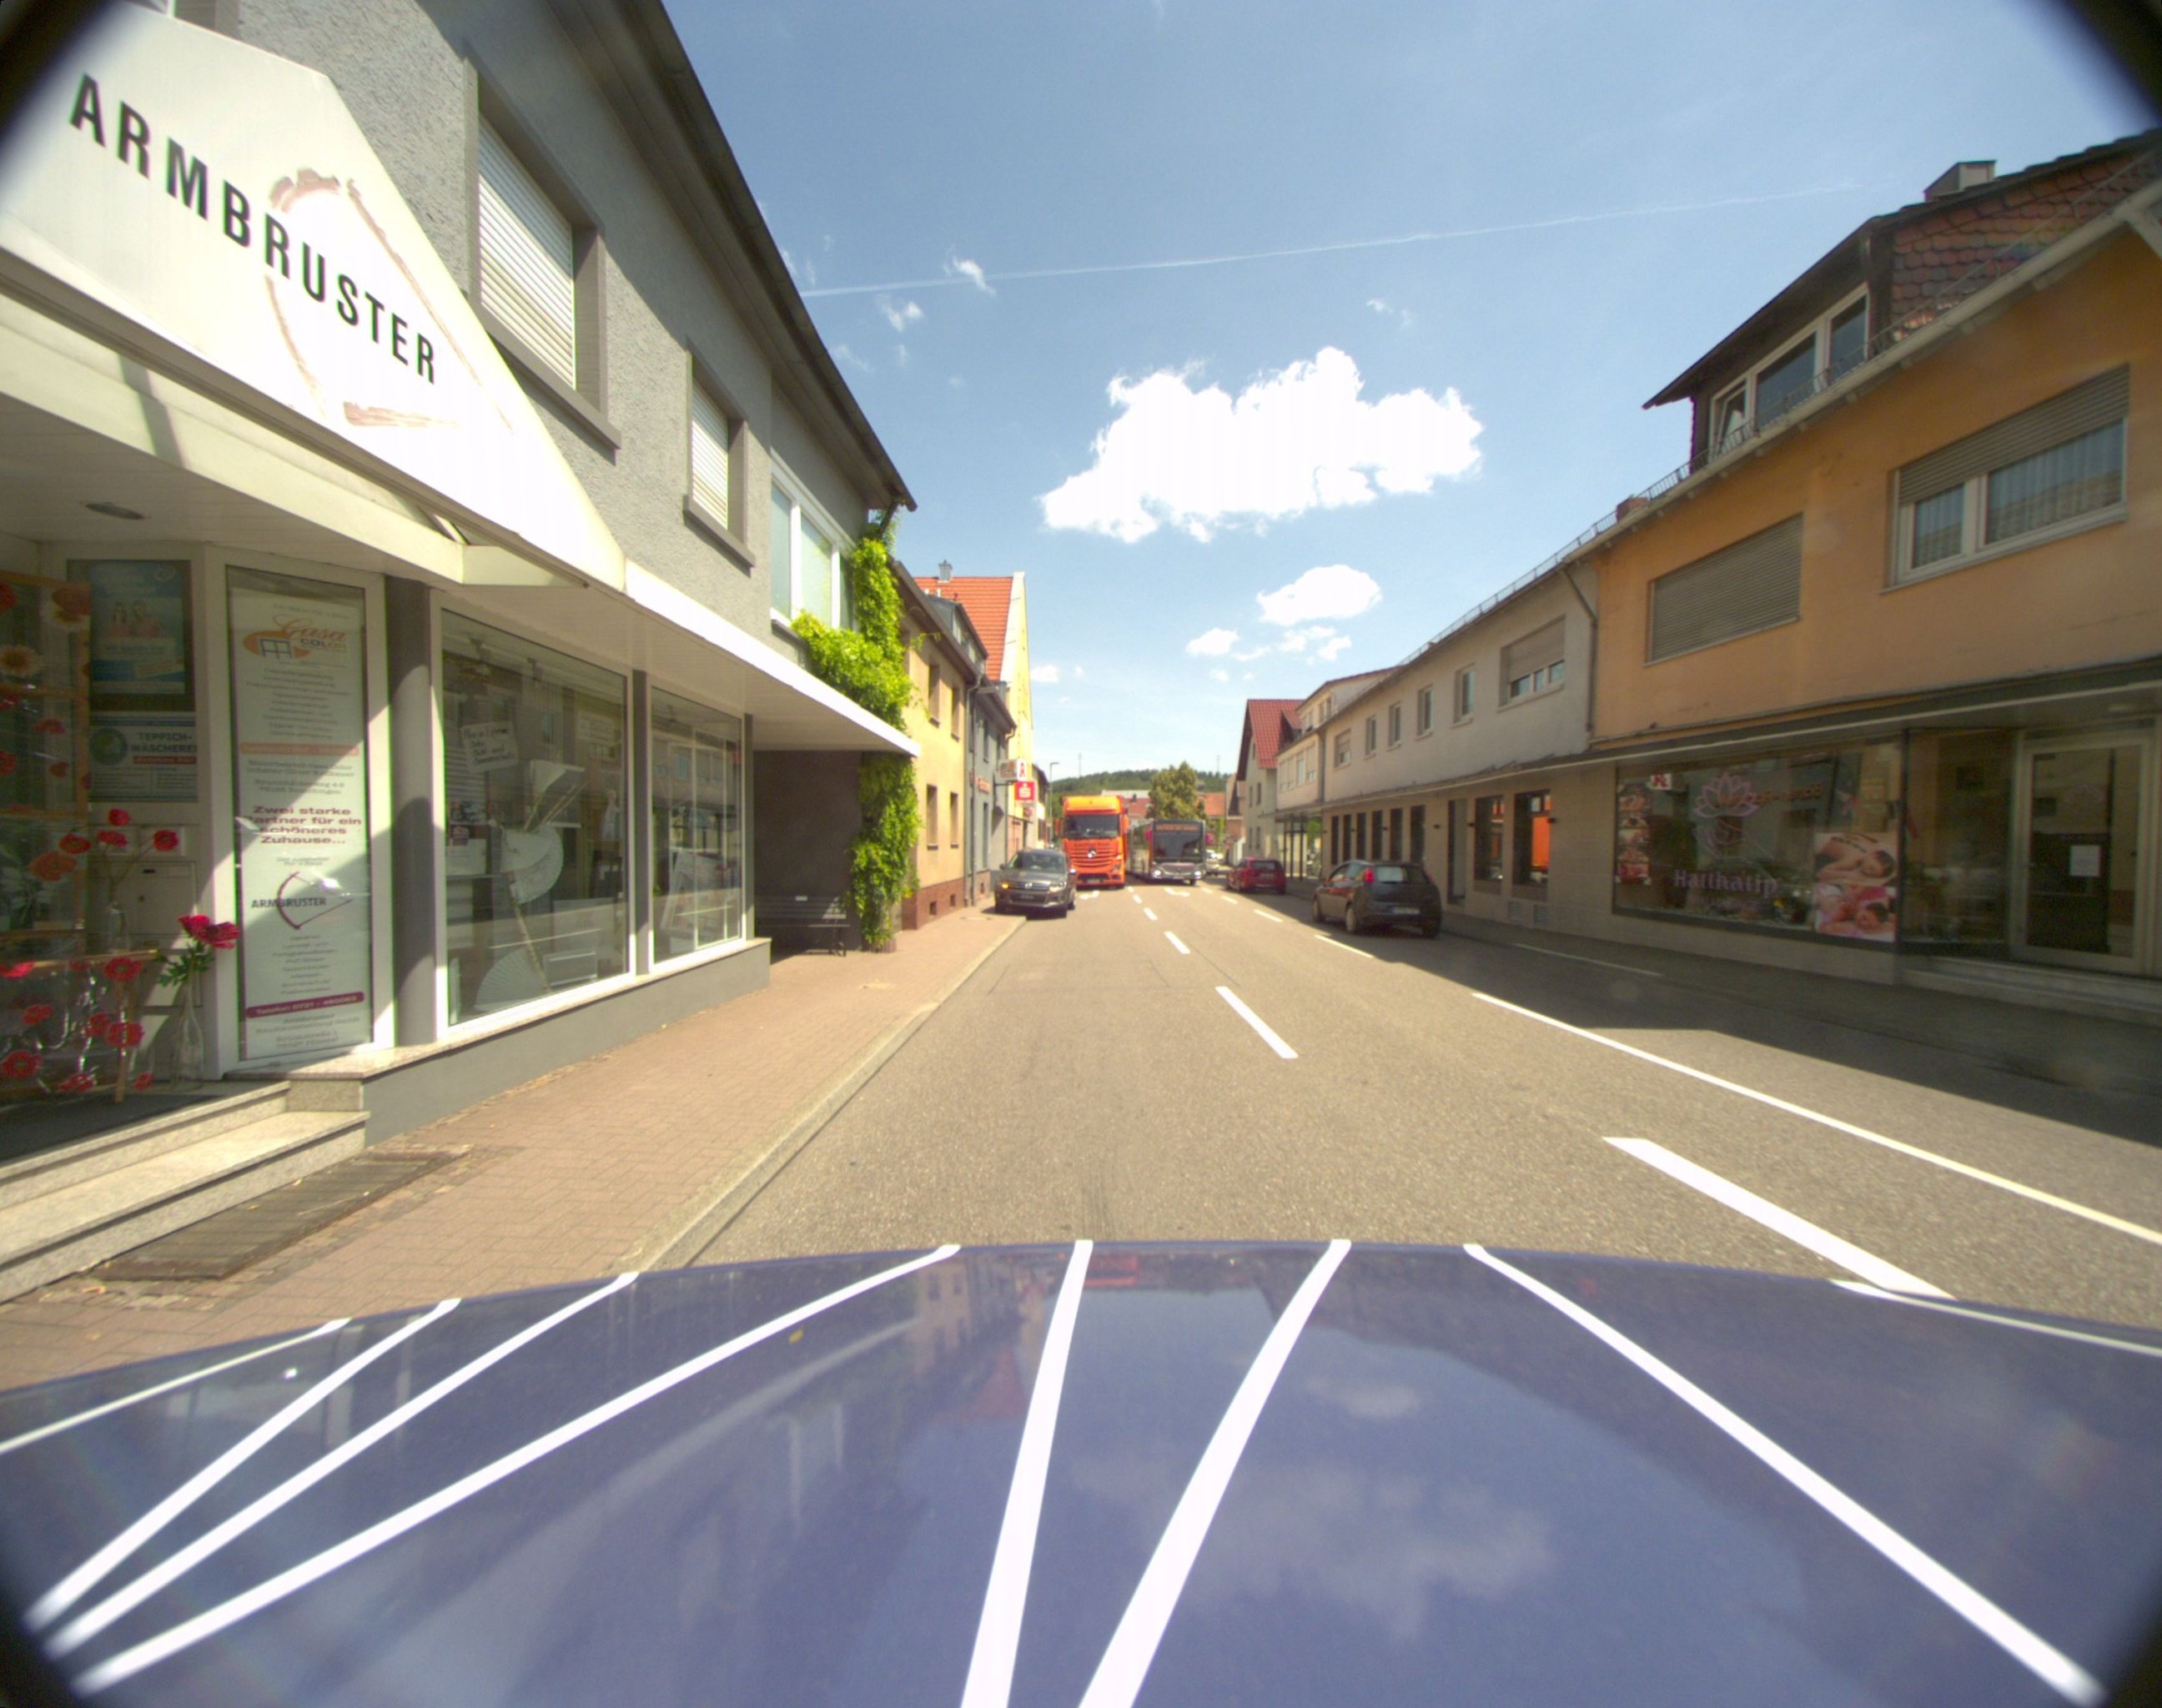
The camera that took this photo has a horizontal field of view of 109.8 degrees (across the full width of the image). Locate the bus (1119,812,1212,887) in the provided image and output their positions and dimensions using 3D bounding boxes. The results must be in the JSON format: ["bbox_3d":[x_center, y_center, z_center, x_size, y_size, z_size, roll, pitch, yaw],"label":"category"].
[{"bbox_3d":[4.111,-0.227,42.253,2.859,3.186,19.030,-1,0,-1],"label":"bus"}]

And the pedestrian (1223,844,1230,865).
[{"bbox_3d":[12.689,0.041,66.251,0.471,1.754,0.478,0,2,-19],"label":"pedestrian"}]

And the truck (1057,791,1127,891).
[{"bbox_3d":[0.743,-0.506,35.321,2.614,3.922,9.995,-2,0,4],"label":"truck"}]

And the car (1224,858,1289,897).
[{"bbox_3d":[6.976,0.888,30.595,1.721,1.400,4.285,2,0,3],"label":"car"}]

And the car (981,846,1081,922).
[{"bbox_3d":[-1.170,0.681,19.884,1.998,1.699,4.101,2,1,4],"label":"car"}]

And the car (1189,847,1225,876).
[{"bbox_3d":[7.766,0.454,47.156,1.683,1.608,3.822,4,0,2],"label":"car"}]

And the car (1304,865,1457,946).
[{"bbox_3d":[6.059,0.969,15.858,1.722,1.414,3.821,2,0,1],"label":"car"}]
